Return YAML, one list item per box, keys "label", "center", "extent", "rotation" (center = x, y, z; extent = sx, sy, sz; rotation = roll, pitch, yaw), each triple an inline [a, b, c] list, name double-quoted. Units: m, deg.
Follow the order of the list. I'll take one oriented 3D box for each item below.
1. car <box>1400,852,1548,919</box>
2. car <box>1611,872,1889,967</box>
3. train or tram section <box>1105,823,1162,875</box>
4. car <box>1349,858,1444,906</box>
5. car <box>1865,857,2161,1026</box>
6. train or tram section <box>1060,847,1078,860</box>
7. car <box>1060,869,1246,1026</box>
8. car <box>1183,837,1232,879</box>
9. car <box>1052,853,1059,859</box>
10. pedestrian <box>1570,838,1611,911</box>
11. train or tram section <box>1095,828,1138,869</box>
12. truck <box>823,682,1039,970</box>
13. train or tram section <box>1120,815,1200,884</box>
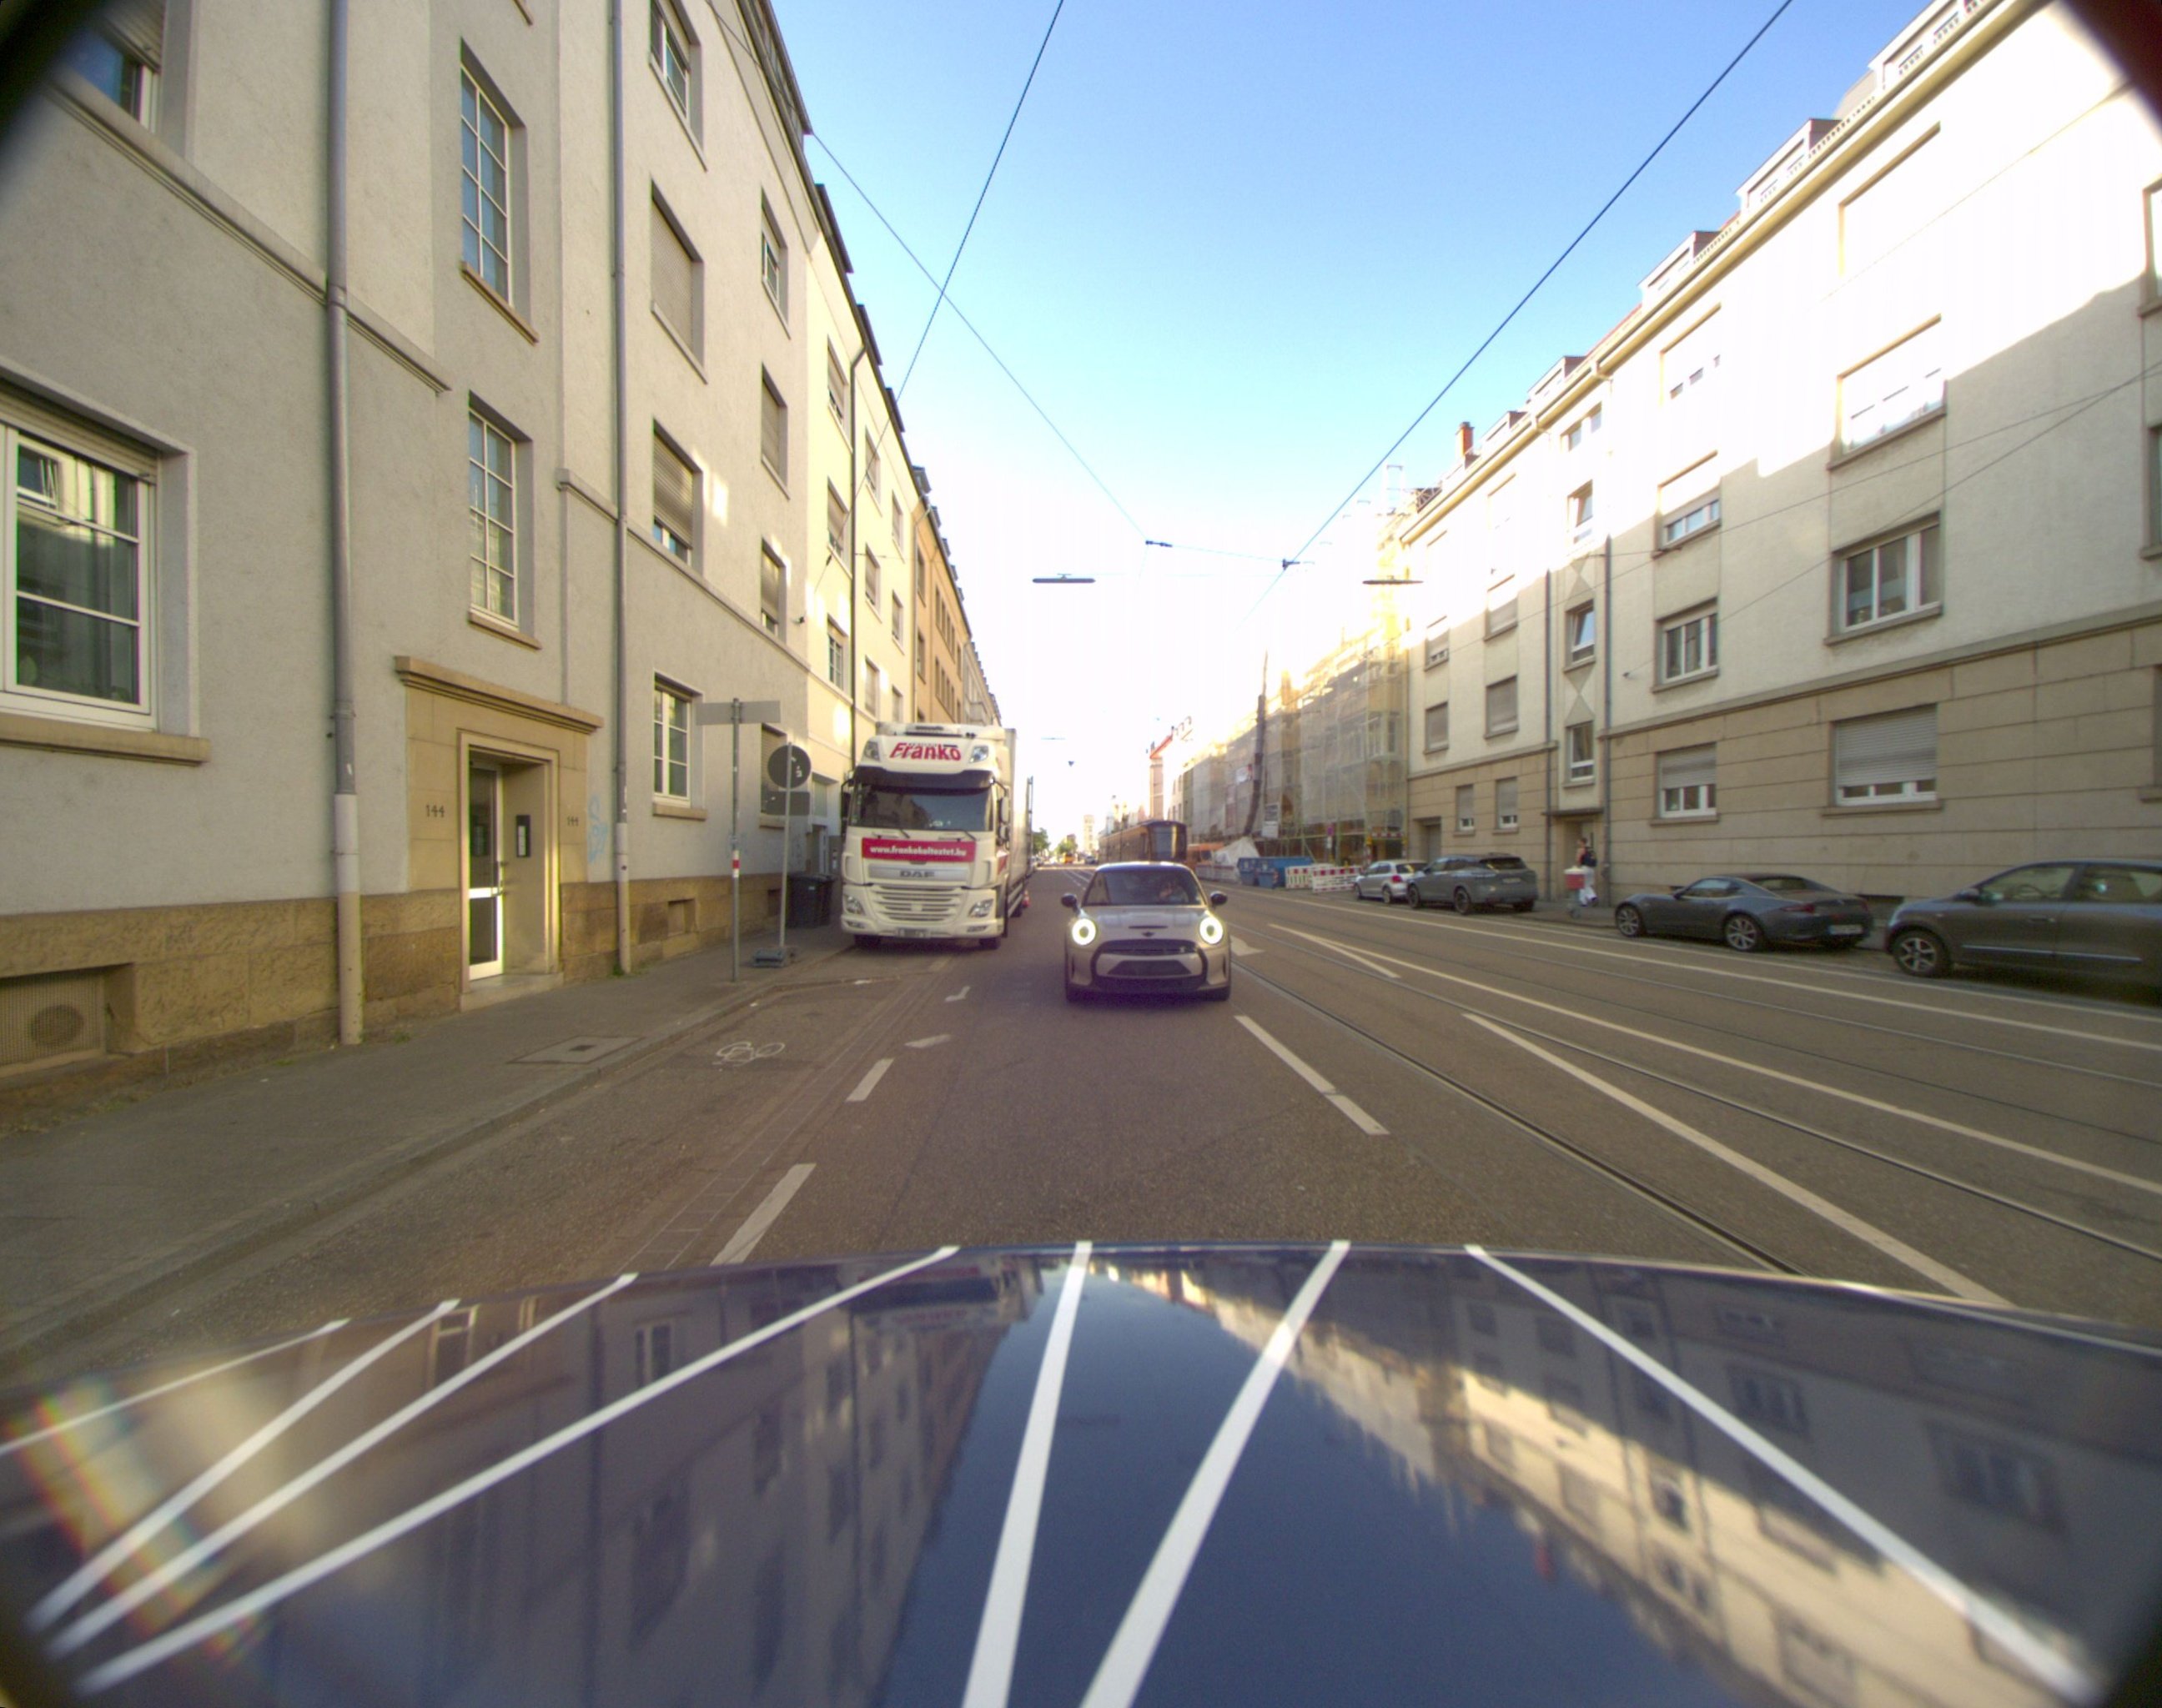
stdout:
- label: "car"
  center: [10.822, 0.790, 21.285]
  extent: [1.752, 1.600, 4.157]
  rotation: [-3, 1, -4]
- label: "car"
  center: [11.119, 1.005, 12.980]
  extent: [1.476, 1.212, 3.522]
  rotation: [-3, 1, -4]
- label: "train or tram section"
  center: [3.788, -0.415, 58.650]
  extent: [2.867, 3.542, 13.330]
  rotation: [0, 1, -3]
- label: "car"
  center: [10.614, 0.904, 25.830]
  extent: [1.565, 1.372, 3.506]
  rotation: [-3, 1, -4]
- label: "car"
  center: [11.357, 0.868, 8.364]
  extent: [1.644, 1.549, 3.594]
  rotation: [-3, 1, -2]
- label: "train or tram section"
  center: [-3.691, -0.286, 233.822]
  extent: [3.881, 3.616, 14.401]
  rotation: [-2, 1, -7]
- label: "car"
  center: [0.663, 0.909, 8.993]
  extent: [1.727, 1.416, 3.817]
  rotation: [0, -1, 0]
- label: "car"
  center: [8.800, 0.250, 53.373]
  extent: [2.215, 2.681, 5.871]
  rotation: [-2, 1, -2]
- label: "car"
  center: [-8.062, 0.588, 241.911]
  extent: [1.999, 1.871, 4.269]
  rotation: [-2, 1, -4]
- label: "pedestrian"
  center: [13.287, 0.524, 19.830]
  extent: [0.519, 1.861, 0.762]
  rotation: [-2, 1, -2]
- label: "train or tram section"
  center: [3.186, -0.542, 71.966]
  extent: [2.867, 3.542, 13.330]
  rotation: [0, 1, -3]
- label: "truck"
  center: [-2.506, -0.504, 17.047]
  extent: [2.700, 4.214, 11.773]
  rotation: [0, 1, -1]
- label: "train or tram section"
  center: [4.390, -0.291, 45.470]
  extent: [2.867, 3.542, 13.038]
  rotation: [0, 1, -3]
